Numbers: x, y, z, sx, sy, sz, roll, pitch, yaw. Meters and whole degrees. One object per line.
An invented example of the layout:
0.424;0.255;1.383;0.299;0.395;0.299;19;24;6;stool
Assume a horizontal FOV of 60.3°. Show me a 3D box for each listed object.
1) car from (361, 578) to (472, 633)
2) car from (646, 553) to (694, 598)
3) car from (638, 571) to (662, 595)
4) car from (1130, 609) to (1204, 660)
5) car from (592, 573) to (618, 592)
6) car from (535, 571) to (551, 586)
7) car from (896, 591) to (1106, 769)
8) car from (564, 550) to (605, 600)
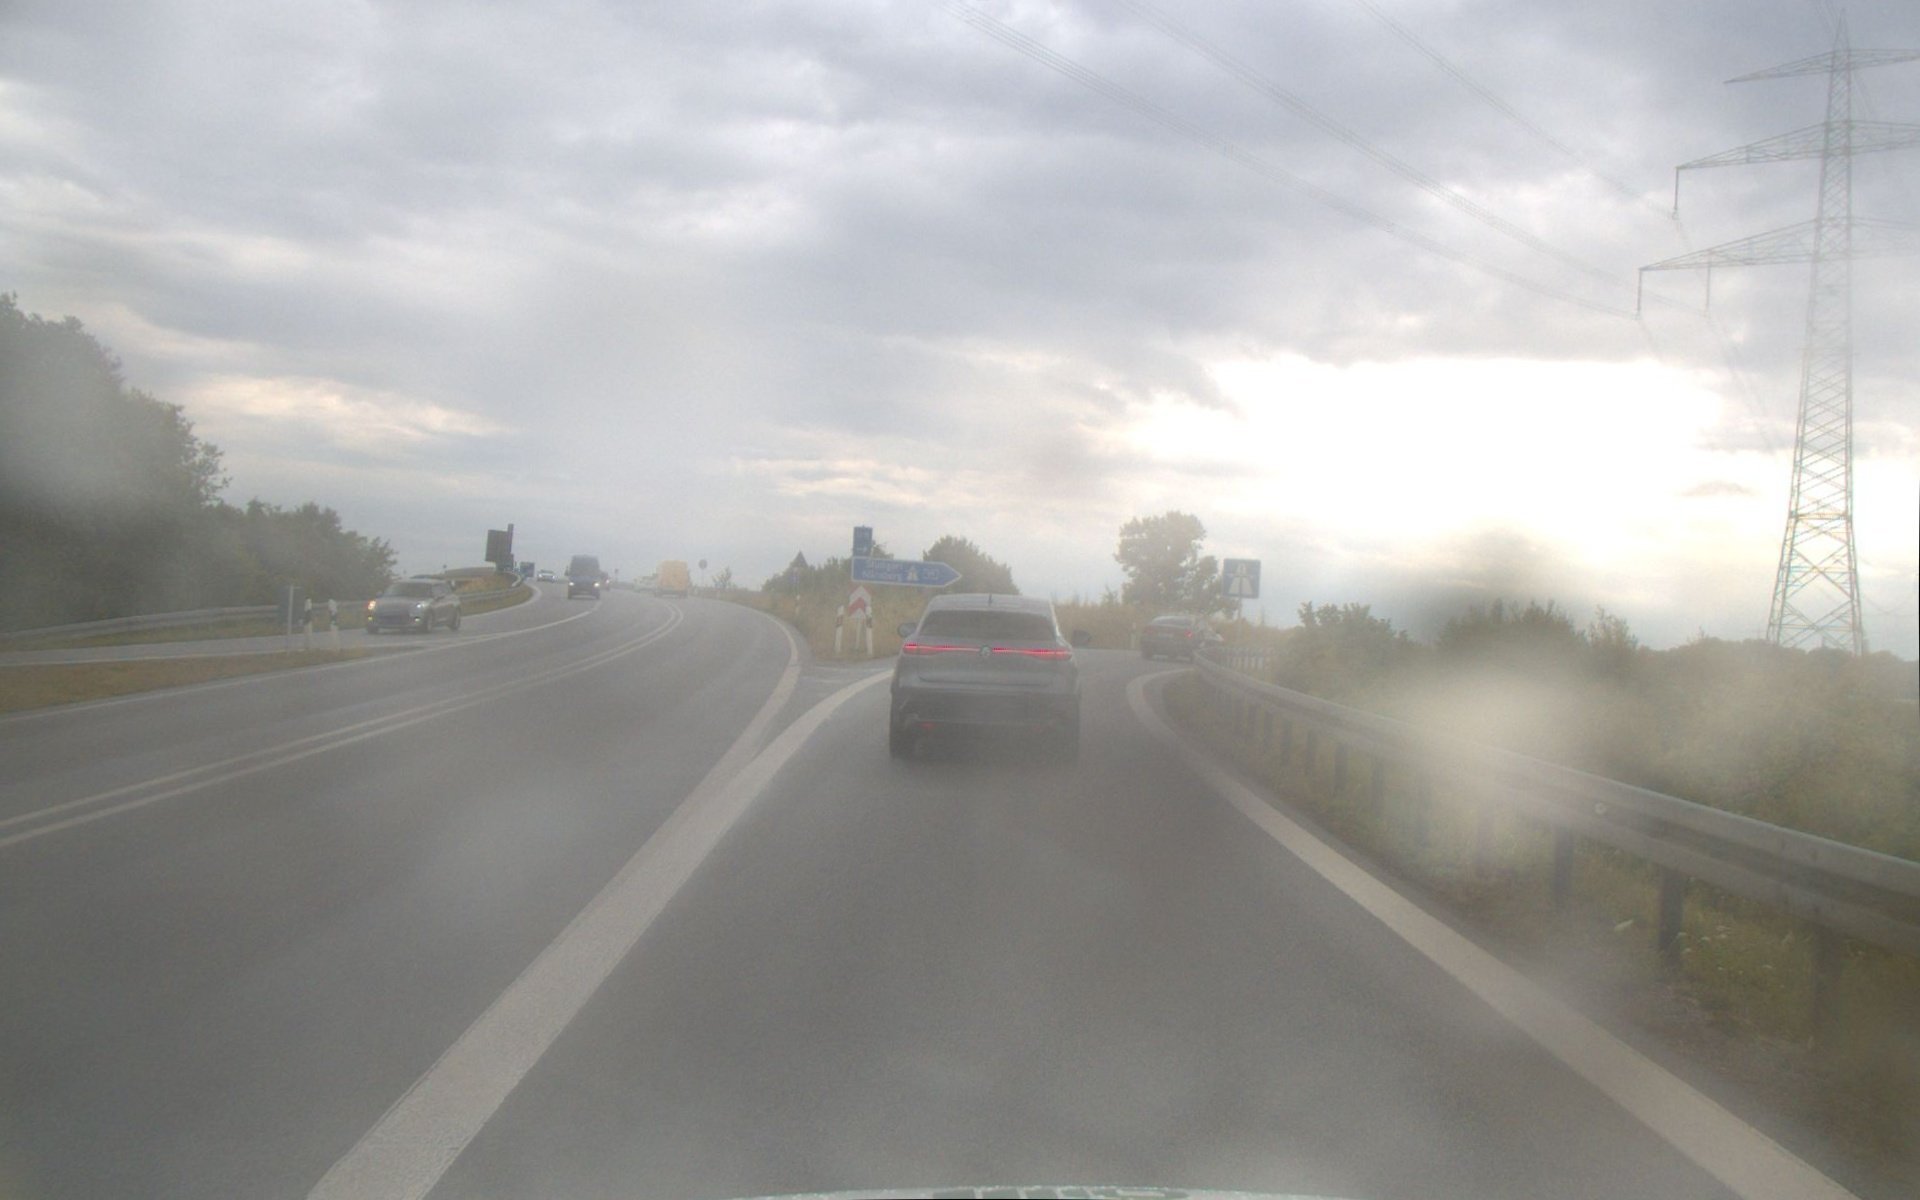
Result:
-15.075;0.184;46.081;1.708;1.389;4.050;-2;-1;0;car
-20.434;-1.675;116.133;2.530;2.773;7.167;5;-2;-15;car
-25.073;-1.336;133.716;1.760;1.717;3.986;2;-2;-13;car
6.743;1.147;53.469;1.753;1.466;4.002;1;-3;16;car
-28.006;-1.374;130.356;1.715;1.389;4.034;3;-1;-15;car
-45.105;-2.289;178.862;1.626;1.472;3.373;3;0;-15;car
0.336;0.716;16.136;1.755;1.466;3.999;2;-1;-1;car
-23.491;-1.617;103.483;2.311;2.747;6.973;3;2;-13;car
